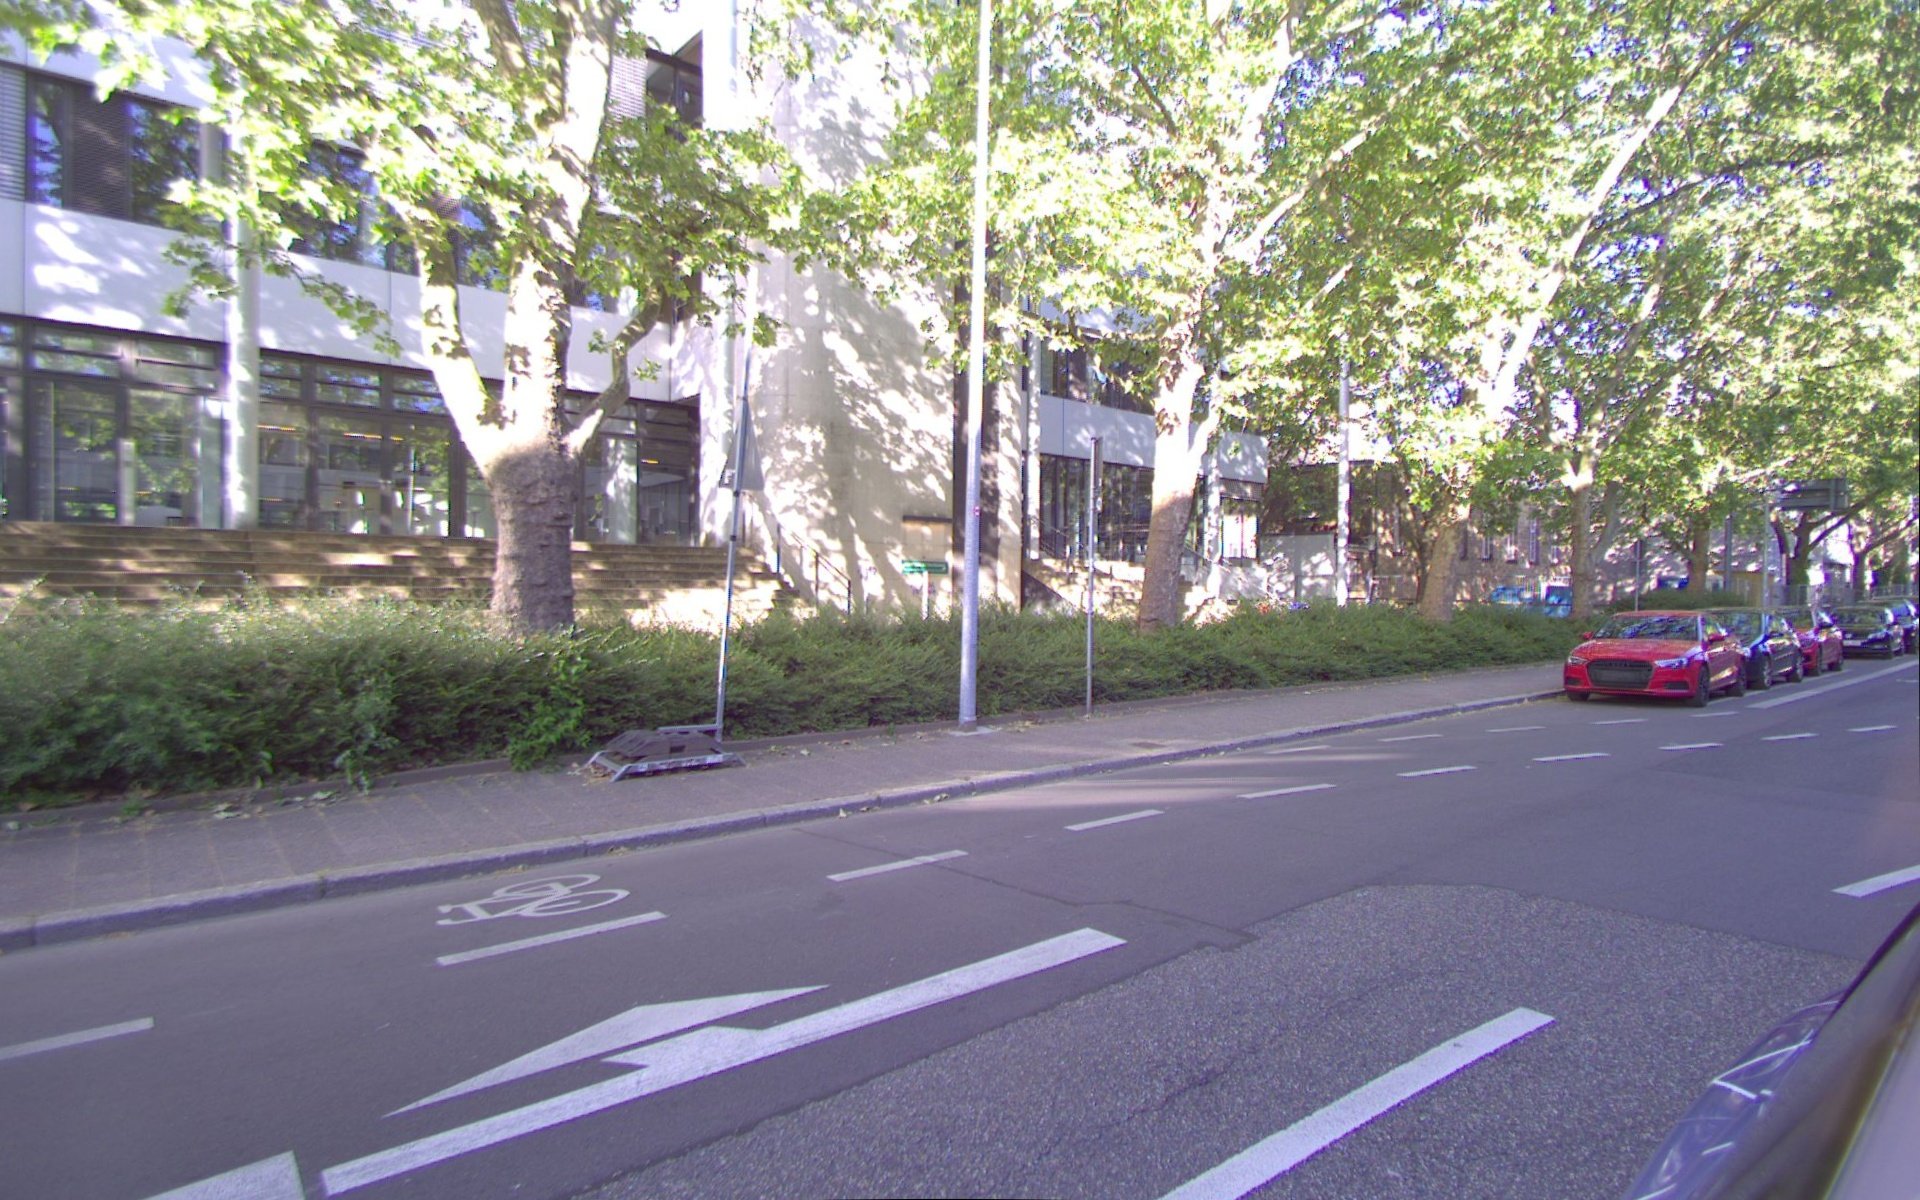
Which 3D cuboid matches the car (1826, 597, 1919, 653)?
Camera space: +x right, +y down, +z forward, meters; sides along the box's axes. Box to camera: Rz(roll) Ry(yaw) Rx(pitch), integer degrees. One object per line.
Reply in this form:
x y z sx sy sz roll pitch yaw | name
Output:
26.017 0.654 28.691 3.930 1.469 1.684 0 1 -41 | car

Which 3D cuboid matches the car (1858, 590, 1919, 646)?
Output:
29.518 0.522 31.644 3.770 1.640 1.684 0 1 -41 | car

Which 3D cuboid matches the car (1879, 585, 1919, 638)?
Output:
33.973 0.389 35.699 4.354 1.790 1.818 0 1 -41 | car

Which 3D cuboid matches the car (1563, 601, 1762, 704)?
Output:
11.248 0.755 16.110 3.962 1.439 1.722 0 -2 -42 | car

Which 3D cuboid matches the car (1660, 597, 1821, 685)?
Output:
14.813 0.704 19.137 3.930 1.485 1.684 0 0 -41 | car

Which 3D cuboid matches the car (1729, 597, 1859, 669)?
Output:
18.614 0.674 22.531 3.715 1.452 1.664 0 1 -41 | car

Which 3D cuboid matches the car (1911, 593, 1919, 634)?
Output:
38.711 0.509 39.715 3.801 1.581 1.684 0 1 -41 | car
